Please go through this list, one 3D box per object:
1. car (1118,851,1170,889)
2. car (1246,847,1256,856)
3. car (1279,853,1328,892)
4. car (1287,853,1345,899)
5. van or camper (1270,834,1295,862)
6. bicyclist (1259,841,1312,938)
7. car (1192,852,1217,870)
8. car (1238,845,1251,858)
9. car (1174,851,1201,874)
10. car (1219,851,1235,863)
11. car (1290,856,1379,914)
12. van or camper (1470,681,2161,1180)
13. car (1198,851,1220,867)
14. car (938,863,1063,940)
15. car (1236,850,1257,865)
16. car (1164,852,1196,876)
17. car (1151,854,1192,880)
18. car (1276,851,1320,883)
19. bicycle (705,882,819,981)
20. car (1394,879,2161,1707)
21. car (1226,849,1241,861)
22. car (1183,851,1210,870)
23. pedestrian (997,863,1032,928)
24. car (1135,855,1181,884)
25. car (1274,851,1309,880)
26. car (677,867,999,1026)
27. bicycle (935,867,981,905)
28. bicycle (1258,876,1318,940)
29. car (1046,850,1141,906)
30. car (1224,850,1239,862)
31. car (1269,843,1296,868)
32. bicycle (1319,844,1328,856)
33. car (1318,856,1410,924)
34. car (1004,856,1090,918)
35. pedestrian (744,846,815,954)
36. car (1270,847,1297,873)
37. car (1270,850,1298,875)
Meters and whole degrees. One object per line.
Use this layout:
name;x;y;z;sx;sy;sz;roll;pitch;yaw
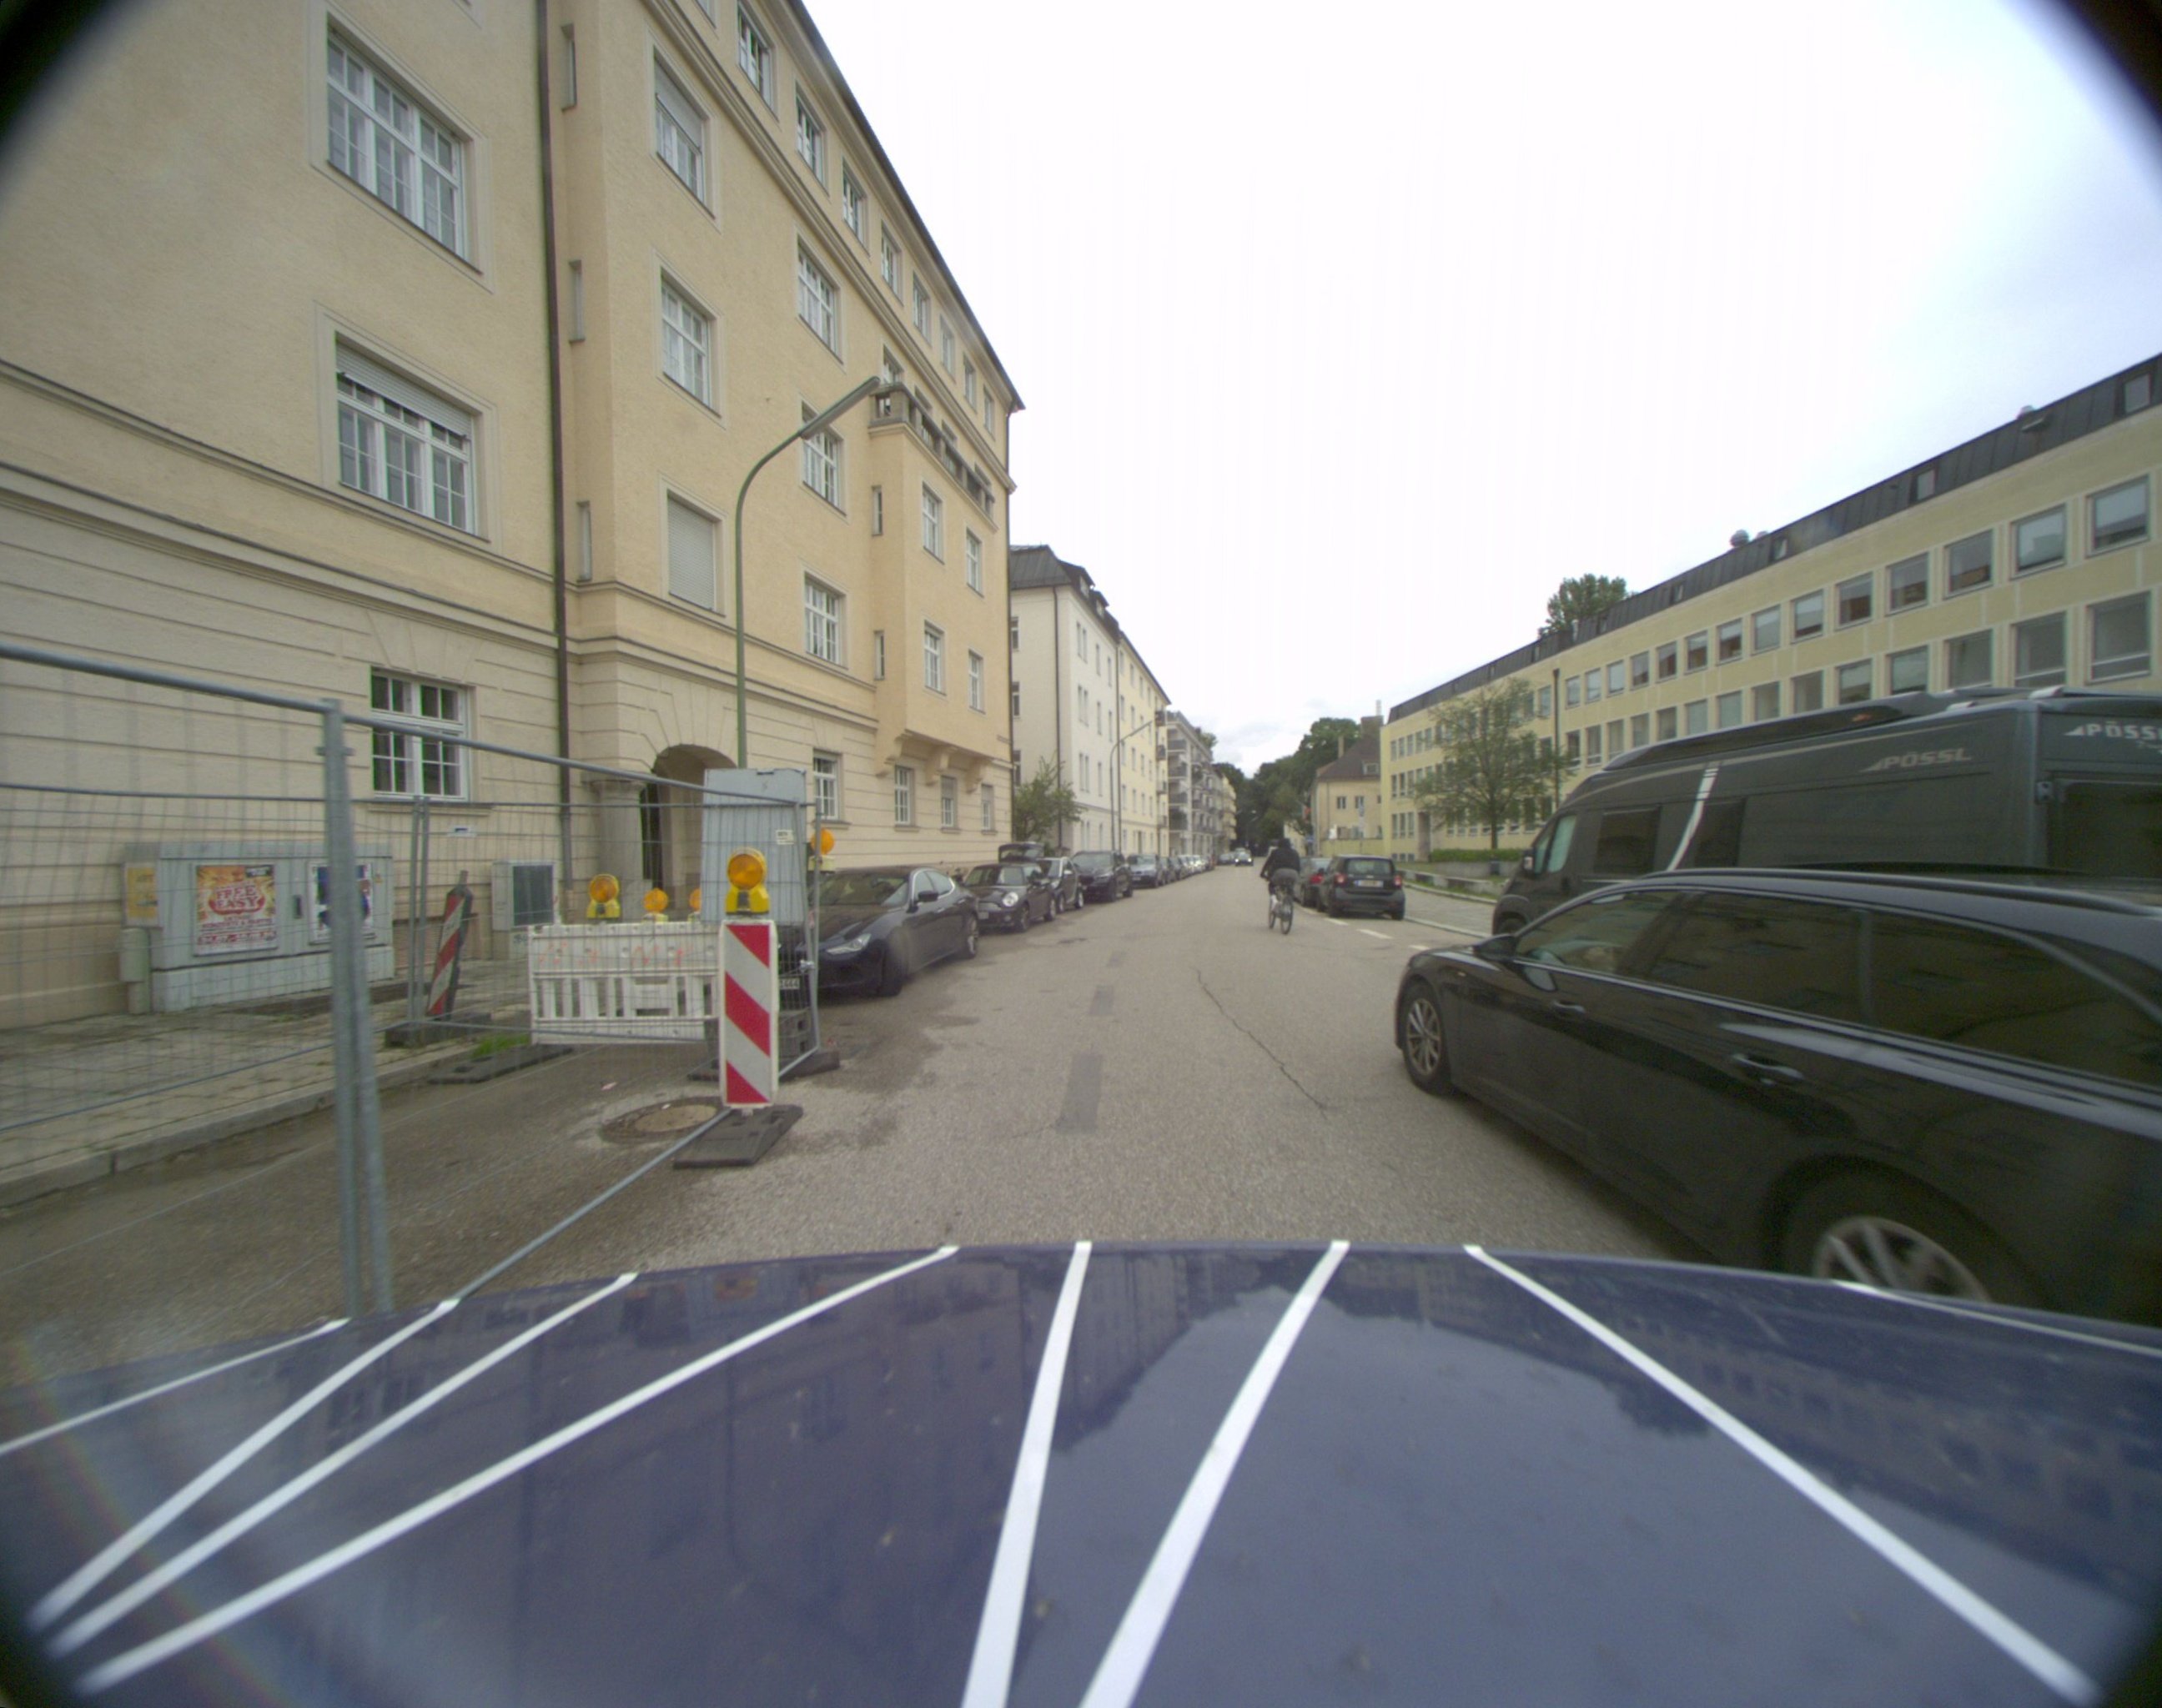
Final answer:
car;3.093;0.702;36.320;1.849;1.654;4.502;-1;0;13
car;32.557;-0.521;145.680;1.769;1.607;4.267;-1;0;14
car;9.231;0.705;31.810;1.633;1.486;4.279;1;1;12
car;8.445;0.751;27.558;1.633;1.486;3.607;2;1;11
van or camper;20.061;-0.586;75.482;2.295;2.636;5.567;1;1;16
bicyclist;3.868;0.651;14.410;0.746;1.761;0.815;2;0;1
car;10.745;0.608;66.074;1.775;1.421;4.620;-2;0;14
car;27.834;-0.436;129.338;1.856;2.019;4.788;-1;0;15
car;7.926;0.601;56.200;1.653;1.534;3.997;-2;0;12
car;17.941;0.378;93.180;1.774;1.467;4.222;-1;0;12
car;7.362;0.821;22.466;1.777;1.457;4.469;1;1;9
van or camper;6.297;0.394;6.956;2.303;2.566;6.085;1;1;0
car;12.010;0.447;71.150;1.657;1.421;3.760;-2;0;13
car;-1.606;0.954;16.487;1.633;1.409;3.682;-2;0;11
car;17.809;0.340;81.550;1.996;1.521;4.004;-2;0;15
car;6.727;0.649;51.085;1.727;1.441;4.191;-2;0;13
car;5.566;0.769;46.223;1.878;1.441;4.682;-2;0;14
car;10.625;0.598;37.474;1.744;1.414;4.297;-1;1;12
bicycle;-4.584;1.070;11.045;0.637;1.251;1.672;-1;1;13
car;2.965;0.910;2.787;1.924;1.404;4.705;1;1;4
car;20.886;0.152;103.772;1.794;1.473;4.608;-2;0;13
car;9.249;0.503;60.689;1.727;1.421;4.298;-2;0;13
pedestrian;-1.587;0.989;18.215;0.629;1.520;0.578;-1;1;13
car;4.195;0.800;40.936;1.830;1.441;4.088;-2;0;14
car;11.882;0.602;43.084;1.633;1.486;4.104;2;1;12
car;-2.727;0.977;10.039;1.911;1.469;4.950;-2;0;10
bicycle;-3.706;0.944;23.129;0.502;1.043;2.140;2;1;15
bicycle;3.881;0.979;14.393;0.587;1.063;1.937;1;0;0
car;0.575;0.752;26.510;2.173;1.729;5.029;-2;0;14
car;19.502;0.243;98.629;1.619;1.458;3.750;-2;0;15
car;16.692;0.127;63.074;1.918;1.948;4.966;1;0;12
bicycle;26.497;-0.470;83.035;0.803;1.226;1.870;0;1;14
car;6.810;0.805;18.548;1.521;1.457;2.889;1;1;9
car;-0.875;0.871;21.221;1.516;1.545;3.022;-2;0;15
pedestrian;-4.938;0.728;12.484;0.618;1.681;0.920;3;2;14
car;14.127;0.378;53.059;1.717;1.680;4.145;1;1;14
car;12.760;0.522;47.916;1.633;1.486;3.823;0;1;14
